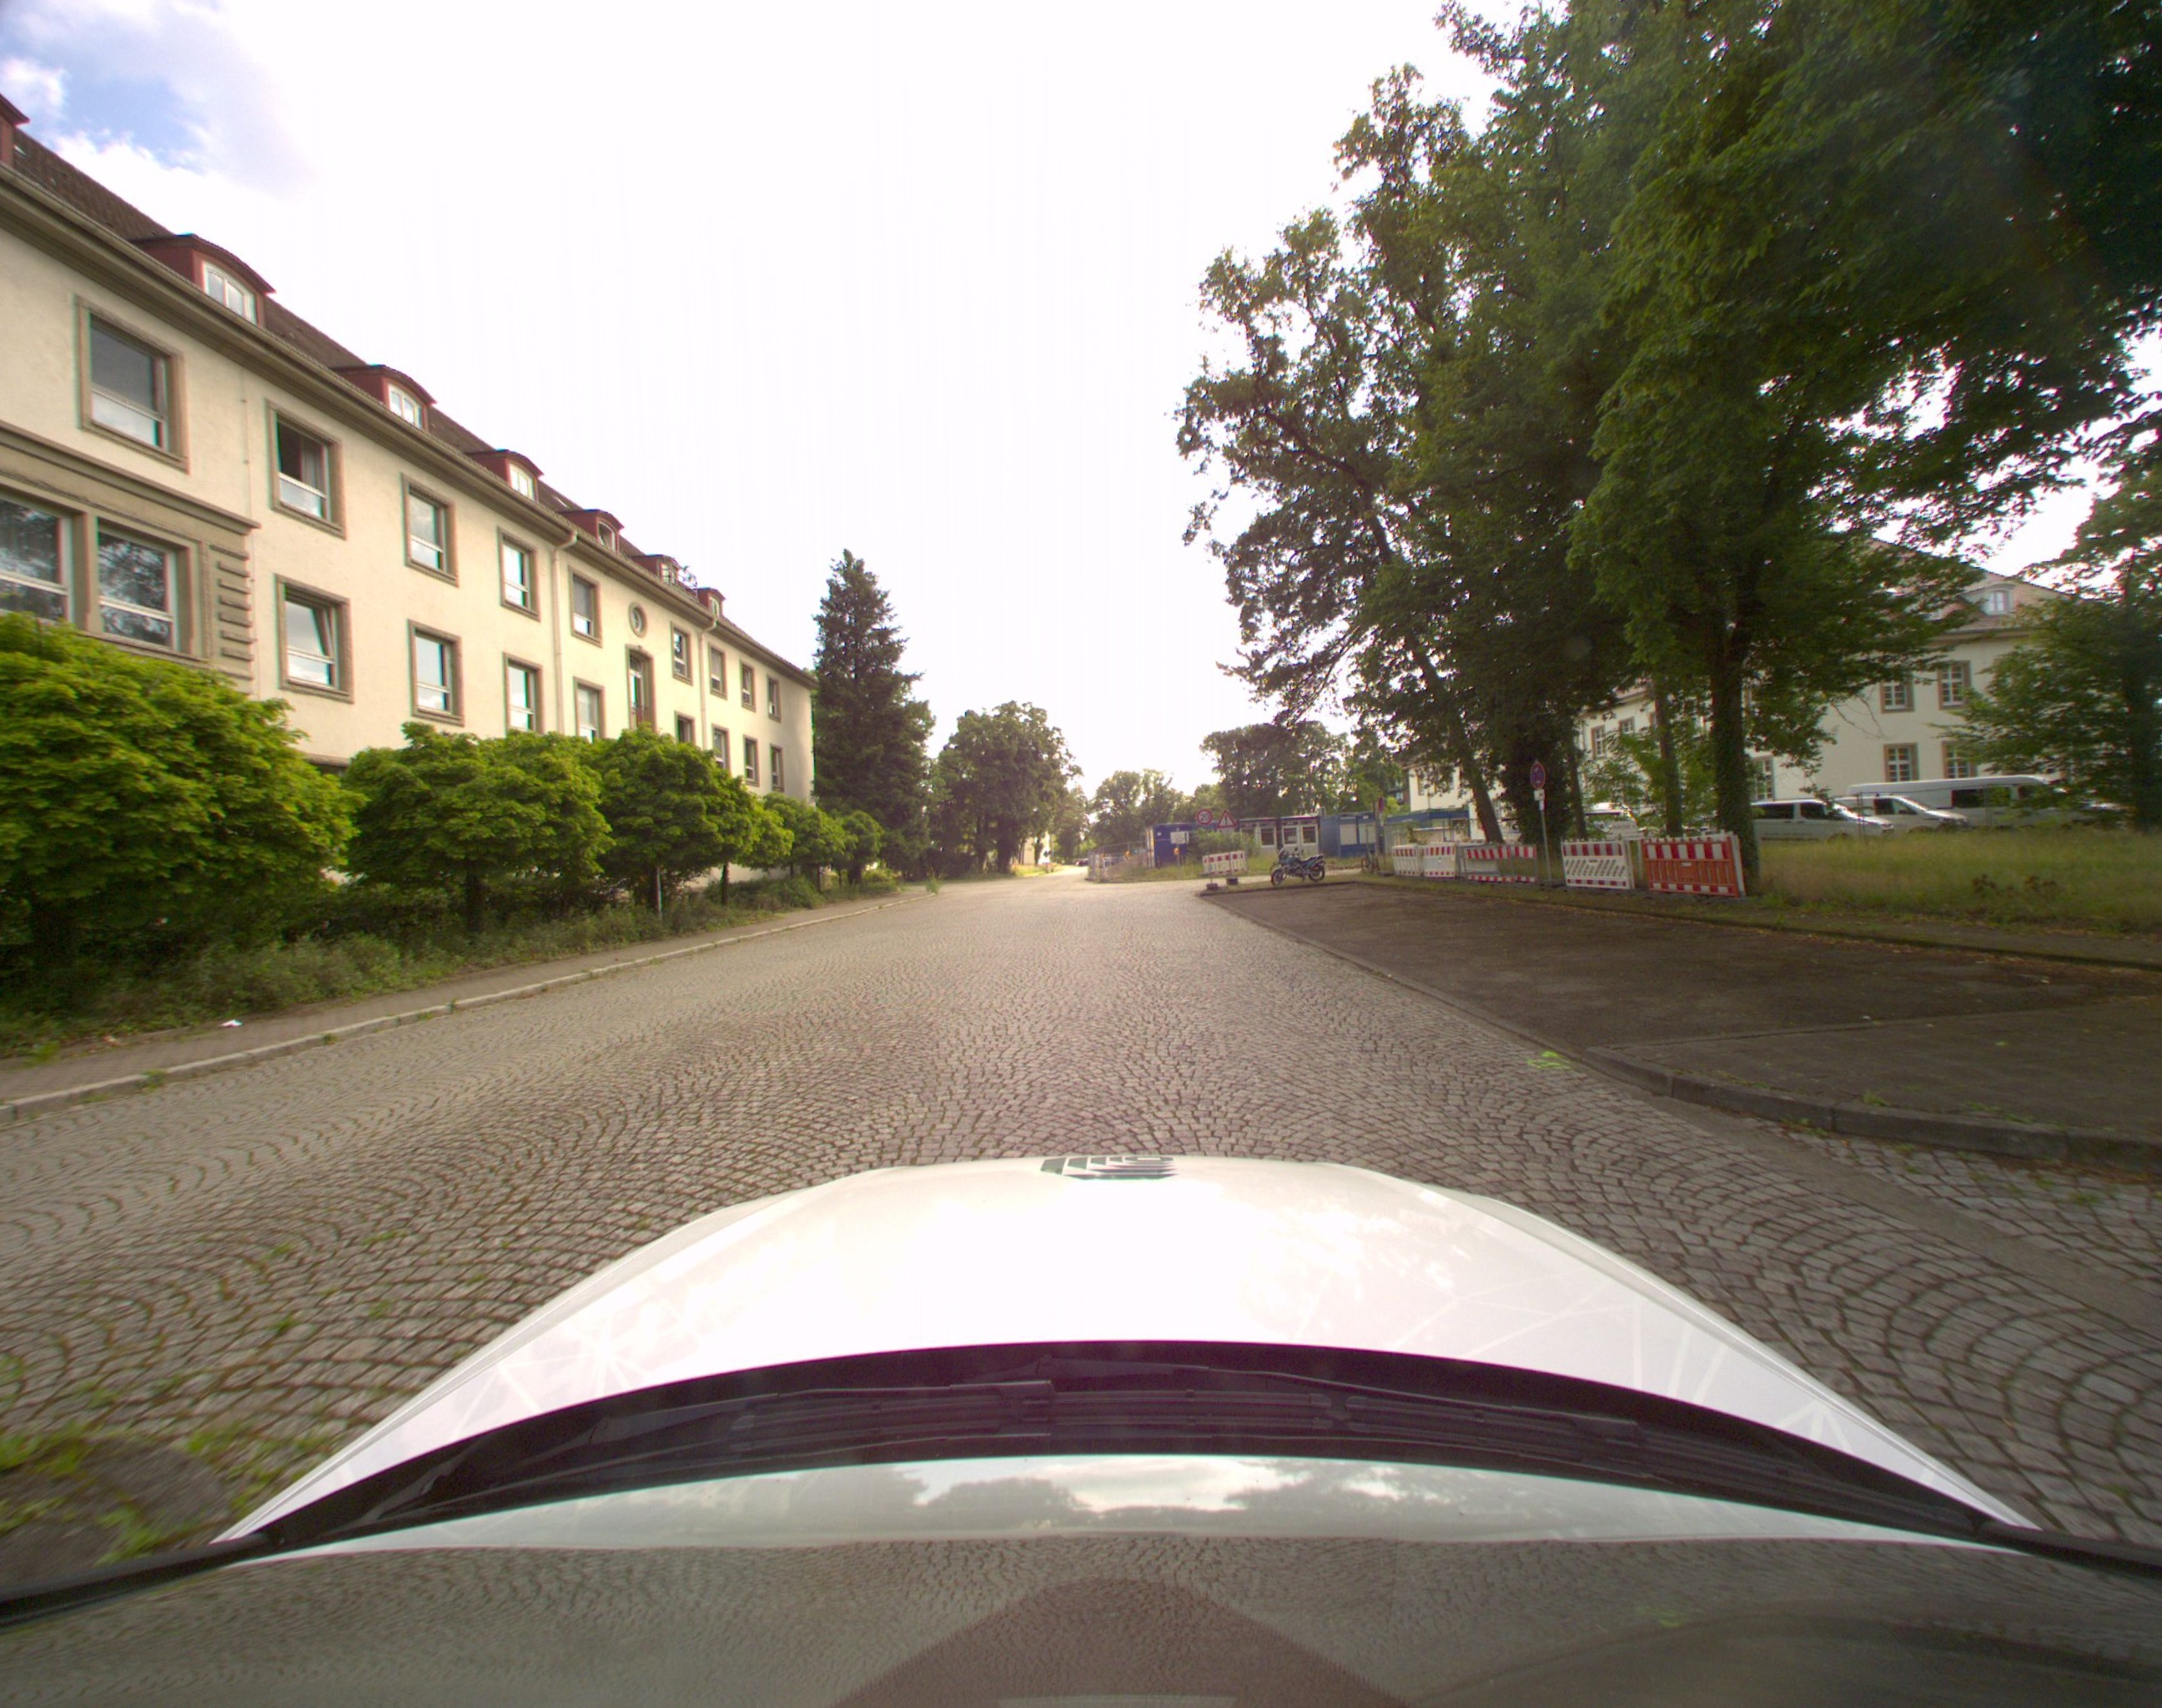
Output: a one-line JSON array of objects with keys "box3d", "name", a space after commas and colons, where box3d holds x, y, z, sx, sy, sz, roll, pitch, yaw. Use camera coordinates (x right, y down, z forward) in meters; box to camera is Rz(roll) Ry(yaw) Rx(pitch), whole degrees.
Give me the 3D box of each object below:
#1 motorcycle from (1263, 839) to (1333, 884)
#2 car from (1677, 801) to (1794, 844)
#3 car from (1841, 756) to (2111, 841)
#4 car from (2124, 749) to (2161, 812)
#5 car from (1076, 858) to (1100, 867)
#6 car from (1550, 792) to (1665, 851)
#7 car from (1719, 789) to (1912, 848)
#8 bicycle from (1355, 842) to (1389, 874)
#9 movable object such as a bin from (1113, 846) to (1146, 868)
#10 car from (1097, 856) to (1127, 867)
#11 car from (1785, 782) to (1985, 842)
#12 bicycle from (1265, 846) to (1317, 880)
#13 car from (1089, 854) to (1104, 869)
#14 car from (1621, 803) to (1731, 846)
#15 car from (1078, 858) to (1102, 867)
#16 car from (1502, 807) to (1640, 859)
[{"box3d": [7.874, 0.272, 29.630, 2.272, 1.485, 0.756, -4, 0, -5], "name": "motorcycle"}, {"box3d": [32.158, -1.513, 40.247, 1.985, 1.825, 4.878, -2, -1, 3], "name": "car"}, {"box3d": [32.714, -1.907, 30.117, 2.005, 2.578, 6.363, -2, -1, -29], "name": "car"}, {"box3d": [40.525, -2.689, 28.078, 6.119, 2.095, 2.213, -2, -1, 1], "name": "car"}, {"box3d": [1.503, 1.822, 172.227, 4.772, 1.641, 1.997, -3, -1, -5], "name": "car"}, {"box3d": [25.680, -1.491, 40.067, 1.985, 2.556, 5.914, -2, -1, 3], "name": "car"}, {"box3d": [26.778, -1.235, 29.913, 2.004, 1.825, 4.832, -2, -1, -26], "name": "car"}, {"box3d": [11.109, 0.145, 31.170, 0.639, 1.169, 1.906, -4, 0, 3], "name": "bicycle"}, {"box3d": [6.226, 0.331, 104.422, 2.108, 2.593, 4.821, -3, -1, 30], "name": "movable object such as a bin"}, {"box3d": [4.769, 1.175, 126.662, 4.377, 1.510, 2.005, -2, -1, 8], "name": "car"}, {"box3d": [29.520, -1.486, 30.115, 2.004, 1.825, 4.832, -2, -1, -26], "name": "car"}, {"box3d": [8.286, 0.365, 32.134, 1.882, 1.197, 0.659, -4, 0, 20], "name": "bicycle"}, {"box3d": [2.250, 1.089, 120.873, 1.987, 2.014, 4.090, -3, -1, -1], "name": "car"}, {"box3d": [29.223, -1.408, 40.229, 1.985, 1.825, 4.878, -2, -1, 3], "name": "car"}, {"box3d": [1.899, 1.780, 169.123, 4.772, 1.641, 1.997, -3, -1, -5], "name": "car"}, {"box3d": [21.389, -0.909, 35.672, 4.840, 1.920, 1.907, -3, 1, 1], "name": "car"}]
